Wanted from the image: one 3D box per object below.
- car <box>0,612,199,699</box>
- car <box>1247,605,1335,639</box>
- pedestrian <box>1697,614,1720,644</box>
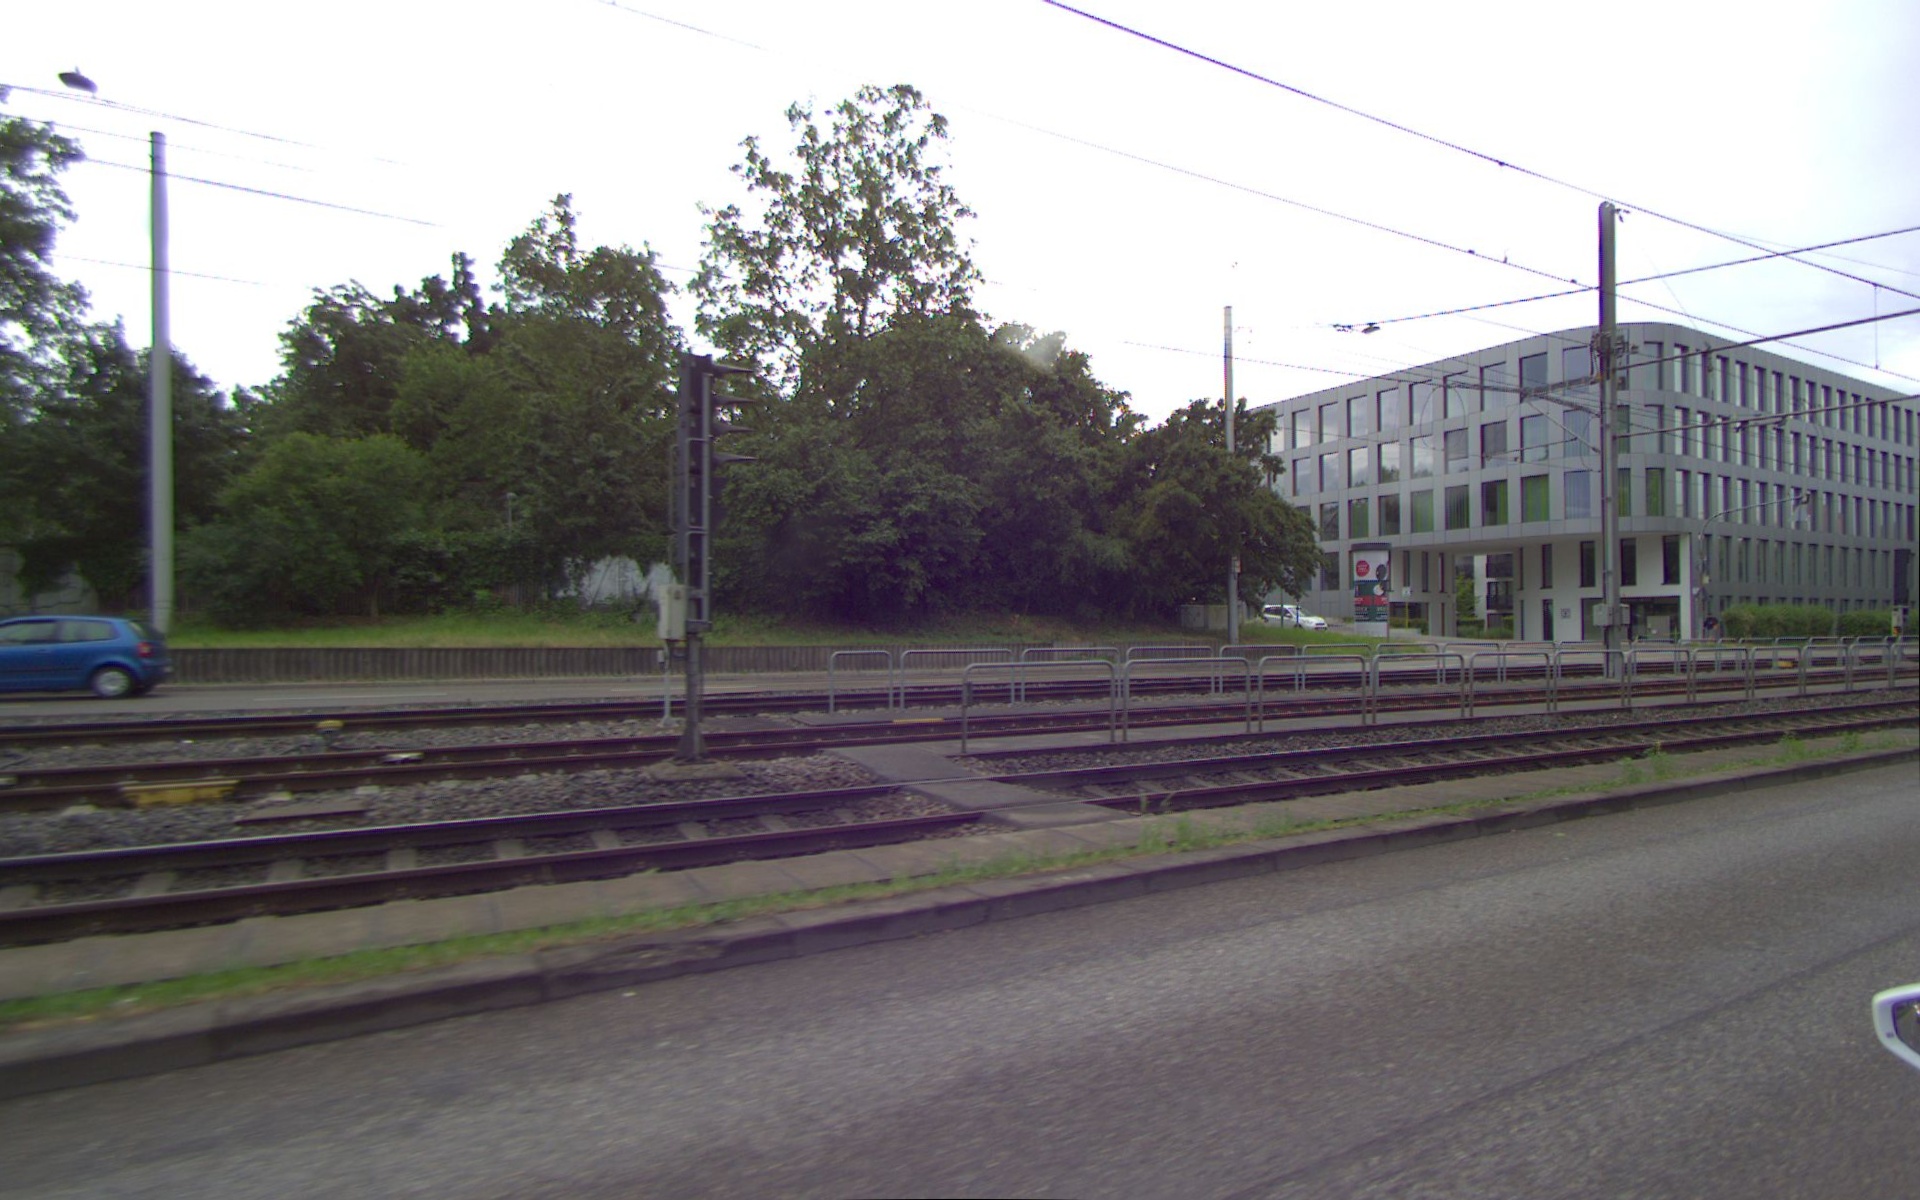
[{"bbox_3d":[-15.806,0.934,17.437,3.851,1.416,1.754,1,-1,-28],"label":"car"},{"bbox_3d":[16.557,1.070,50.425,1.904,1.472,3.897,1,1,-32],"label":"car"},{"bbox_3d":[41.762,1.602,56.049,0.835,1.669,0.720,1,0,-30],"label":"pedestrian"}]
